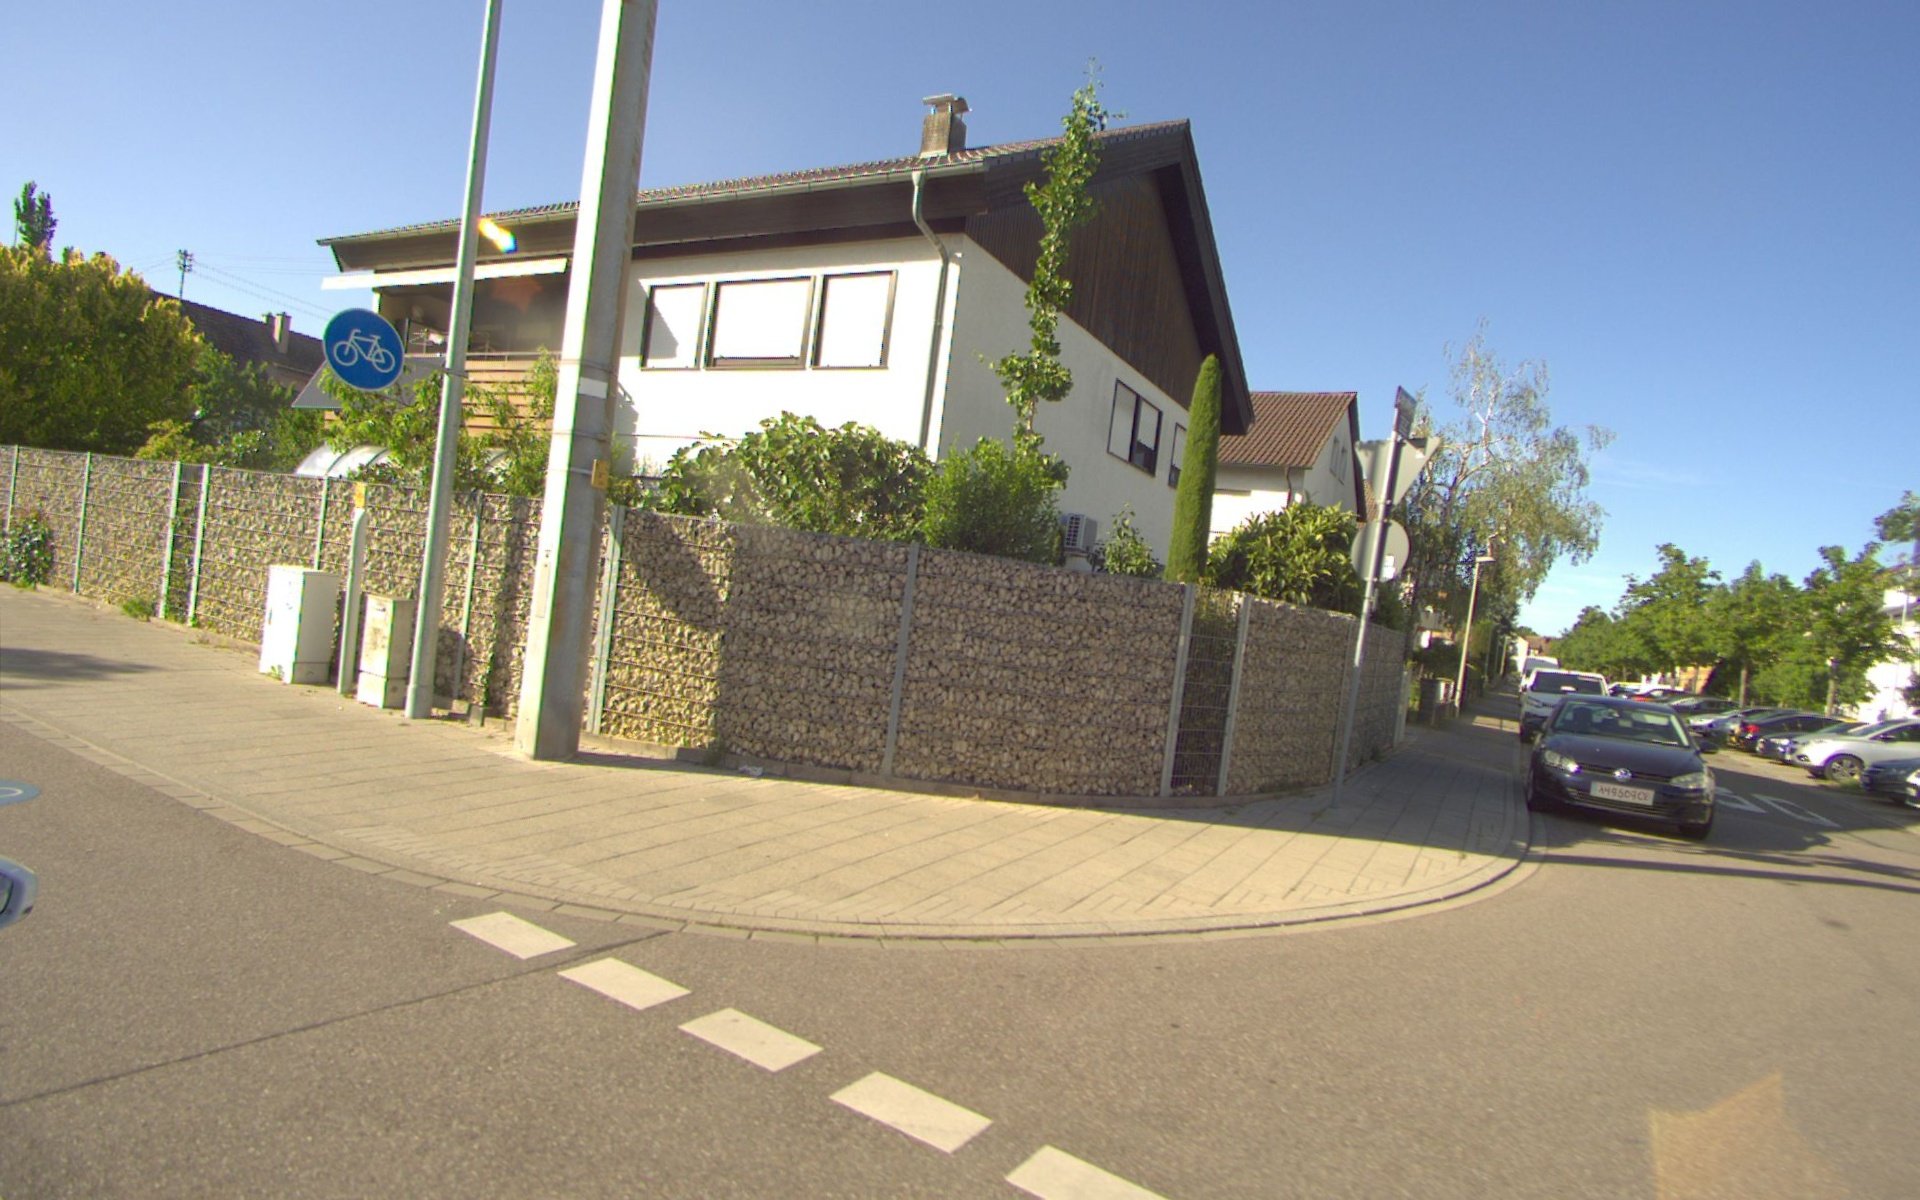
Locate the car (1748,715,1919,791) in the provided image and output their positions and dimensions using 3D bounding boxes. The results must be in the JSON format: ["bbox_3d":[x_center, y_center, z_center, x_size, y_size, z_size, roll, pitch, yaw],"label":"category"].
[{"bbox_3d":[24.662,4.241,27.628,4.360,1.338,1.792,8,1,28],"label":"car"}]

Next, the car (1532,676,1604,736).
[{"bbox_3d":[19.458,3.348,32.323,1.588,1.522,3.994,8,1,28],"label":"car"}]

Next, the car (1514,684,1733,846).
[{"bbox_3d":[8.222,1.895,12.626,1.826,1.390,3.990,8,1,33],"label":"car"}]

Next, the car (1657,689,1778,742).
[{"bbox_3d":[34.646,5.264,46.160,4.013,1.669,1.820,8,1,28],"label":"car"}]

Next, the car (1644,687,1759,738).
[{"bbox_3d":[36.289,5.486,49.359,4.137,1.728,1.851,8,1,28],"label":"car"}]

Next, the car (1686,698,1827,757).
[{"bbox_3d":[30.668,4.882,38.887,3.874,1.500,1.698,8,1,28],"label":"car"}]

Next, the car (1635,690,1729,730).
[{"bbox_3d":[38.789,5.883,54.162,3.736,1.466,1.767,8,1,28],"label":"car"}]

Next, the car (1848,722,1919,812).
[{"bbox_3d":[19.404,3.366,18.882,3.724,1.509,1.525,6,1,28],"label":"car"}]

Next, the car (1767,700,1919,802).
[{"bbox_3d":[21.949,3.658,23.417,4.509,1.835,1.706,8,1,28],"label":"car"}]

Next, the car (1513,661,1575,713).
[{"bbox_3d":[28.133,4.151,48.582,2.183,2.067,4.337,8,1,28],"label":"car"}]

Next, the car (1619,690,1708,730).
[{"bbox_3d":[43.973,6.825,62.991,4.137,1.728,1.851,8,1,28],"label":"car"}]

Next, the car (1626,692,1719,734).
[{"bbox_3d":[42.603,6.725,60.257,4.137,1.728,1.851,8,1,28],"label":"car"}]

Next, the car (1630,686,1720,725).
[{"bbox_3d":[41.245,6.063,58.127,3.892,1.594,1.807,8,1,28],"label":"car"}]

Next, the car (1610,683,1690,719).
[{"bbox_3d":[47.230,6.920,68.996,4.137,1.728,1.851,8,1,28],"label":"car"}]

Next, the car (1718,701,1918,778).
[{"bbox_3d":[27.476,4.422,32.437,4.421,1.546,1.994,8,1,28],"label":"car"}]

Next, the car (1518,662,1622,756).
[{"bbox_3d":[15.261,2.654,25.388,1.845,1.866,4.647,8,1,29],"label":"car"}]

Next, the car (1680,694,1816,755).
[{"bbox_3d":[32.868,5.175,42.128,4.037,1.728,1.790,8,1,28],"label":"car"}]

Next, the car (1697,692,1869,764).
[{"bbox_3d":[29.540,4.555,36.290,4.330,1.728,1.851,8,1,28],"label":"car"}]

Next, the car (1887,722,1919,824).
[{"bbox_3d":[18.243,3.176,16.706,3.724,1.613,1.694,6,2,28],"label":"car"}]

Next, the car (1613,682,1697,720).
[{"bbox_3d":[45.252,6.584,65.634,4.137,1.728,1.851,8,1,28],"label":"car"}]

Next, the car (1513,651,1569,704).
[{"bbox_3d":[34.319,4.556,59.585,2.344,2.632,5.511,8,1,28],"label":"car"}]

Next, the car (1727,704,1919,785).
[{"bbox_3d":[25.942,4.263,29.874,4.615,1.525,1.997,8,1,28],"label":"car"}]
